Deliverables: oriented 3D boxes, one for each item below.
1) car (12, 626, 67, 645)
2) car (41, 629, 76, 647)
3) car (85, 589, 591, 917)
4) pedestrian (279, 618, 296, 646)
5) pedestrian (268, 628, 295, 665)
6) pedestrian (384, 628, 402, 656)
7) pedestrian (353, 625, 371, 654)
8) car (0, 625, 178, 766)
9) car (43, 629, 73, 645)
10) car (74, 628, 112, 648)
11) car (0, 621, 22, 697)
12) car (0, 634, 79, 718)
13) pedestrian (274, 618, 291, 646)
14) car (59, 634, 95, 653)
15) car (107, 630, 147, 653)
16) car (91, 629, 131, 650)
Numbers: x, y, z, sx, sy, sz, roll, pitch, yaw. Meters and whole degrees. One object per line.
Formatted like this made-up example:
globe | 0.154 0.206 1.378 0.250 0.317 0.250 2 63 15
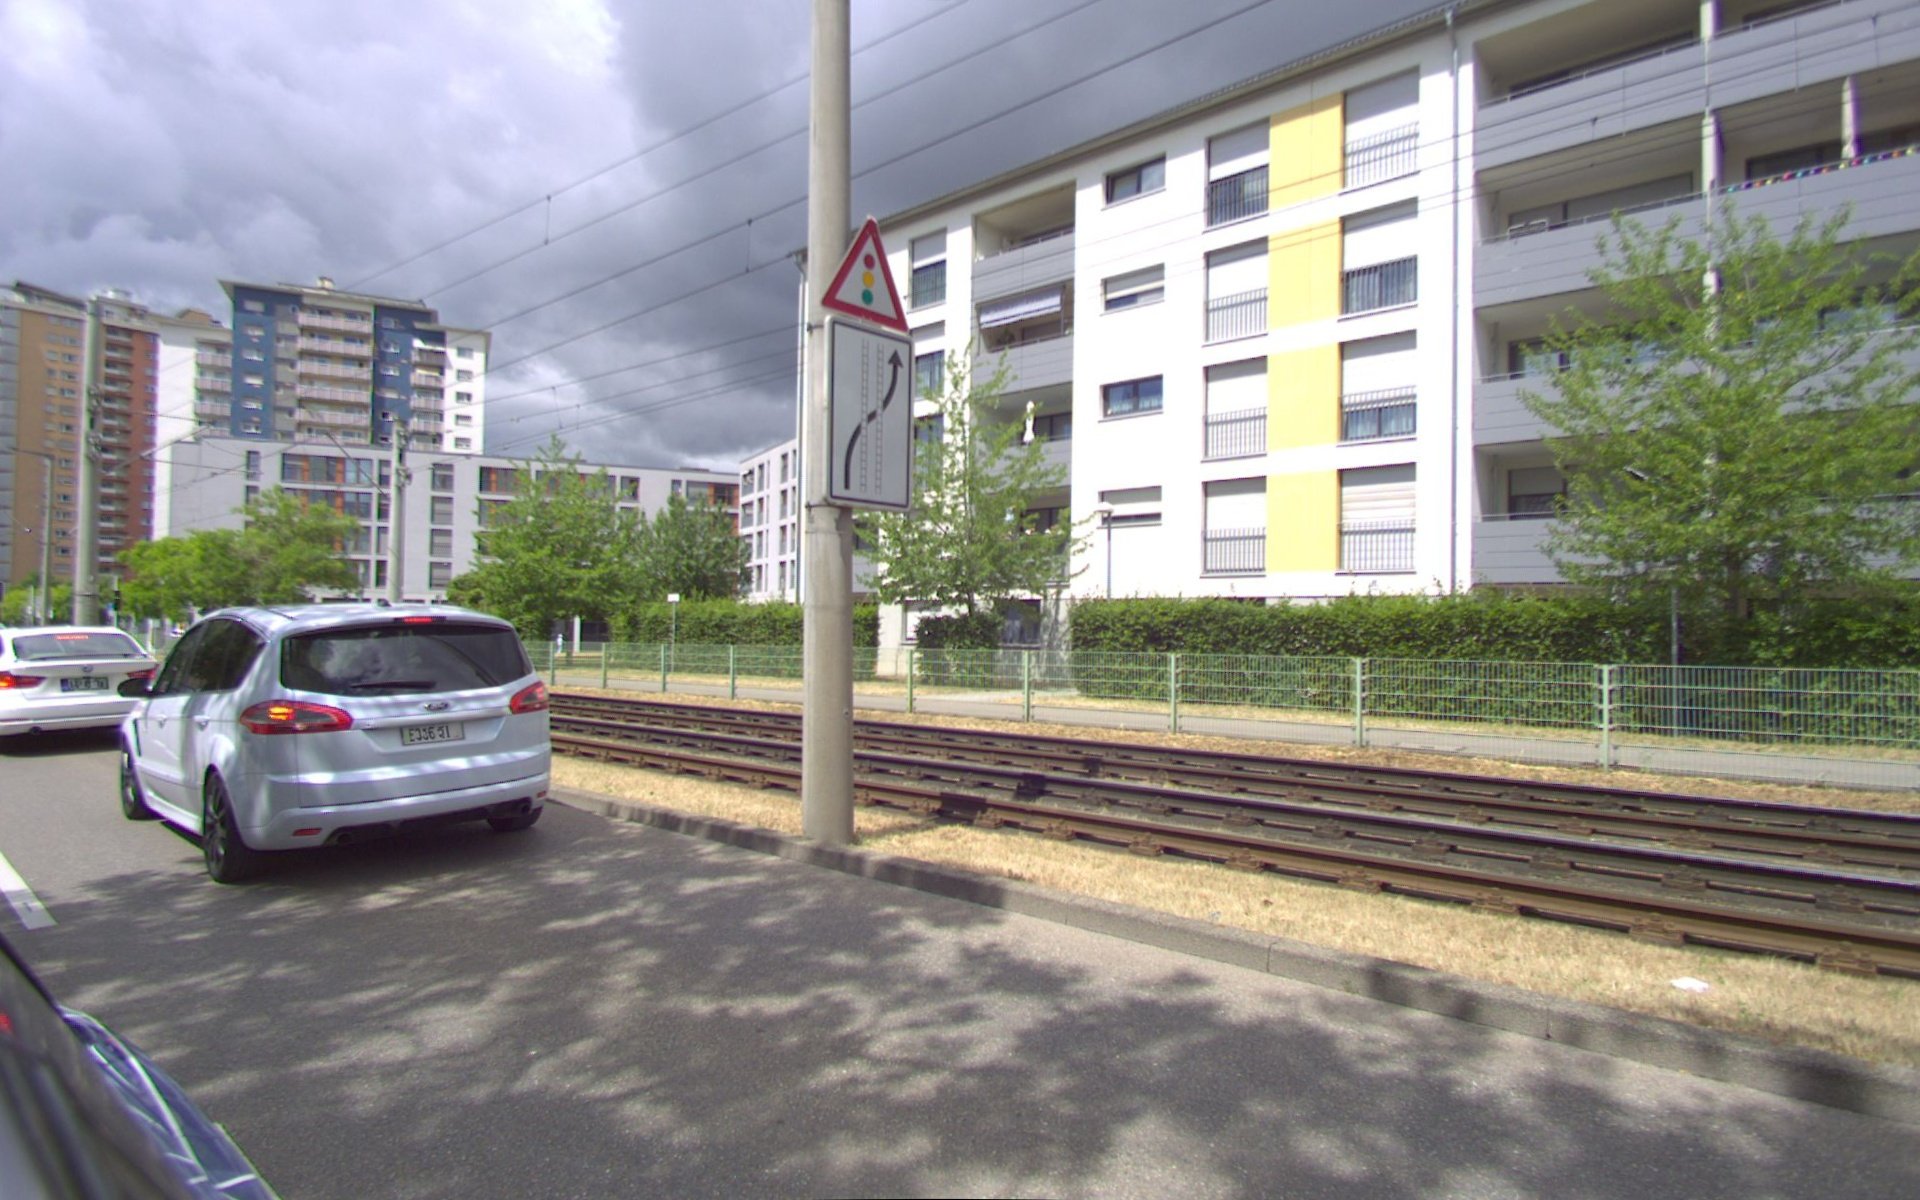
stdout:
car | -97.989 3.800 107.817 1.855 1.940 4.496 0 -1 0
car | -80.652 3.374 90.516 3.800 1.551 1.759 -1 -2 40
car | -4.653 0.799 7.225 4.599 1.626 1.798 -1 -1 41
pedestrian | -40.427 1.900 60.850 0.538 1.666 0.740 -2 -2 40
pedestrian | -30.018 2.056 44.780 0.937 1.625 0.746 -2 -2 40
pedestrian | -32.989 2.452 58.889 0.744 1.623 0.535 -1 -2 18
pedestrian | -42.305 2.812 71.624 0.905 2.029 0.728 -1 -2 23
car | -11.943 1.104 13.211 4.833 1.514 1.799 -1 -1 40
car | -94.133 3.865 105.597 3.800 1.672 1.759 -1 -2 40
car | -70.606 3.095 82.367 3.800 1.551 1.759 -1 -2 40
car | -23.664 1.351 23.731 4.429 1.703 1.839 -1 -2 39
car | -17.795 1.337 18.635 3.936 1.417 1.729 -1 -2 39
pedestrian | -41.083 1.932 61.384 0.538 1.666 0.740 -2 -2 40
car | -75.404 3.674 86.429 3.800 1.551 1.759 -1 -2 40
car | -61.042 3.014 74.169 3.805 1.635 1.868 -2 -2 44
car | -65.771 3.055 78.402 3.802 1.551 1.869 -2 -2 42
